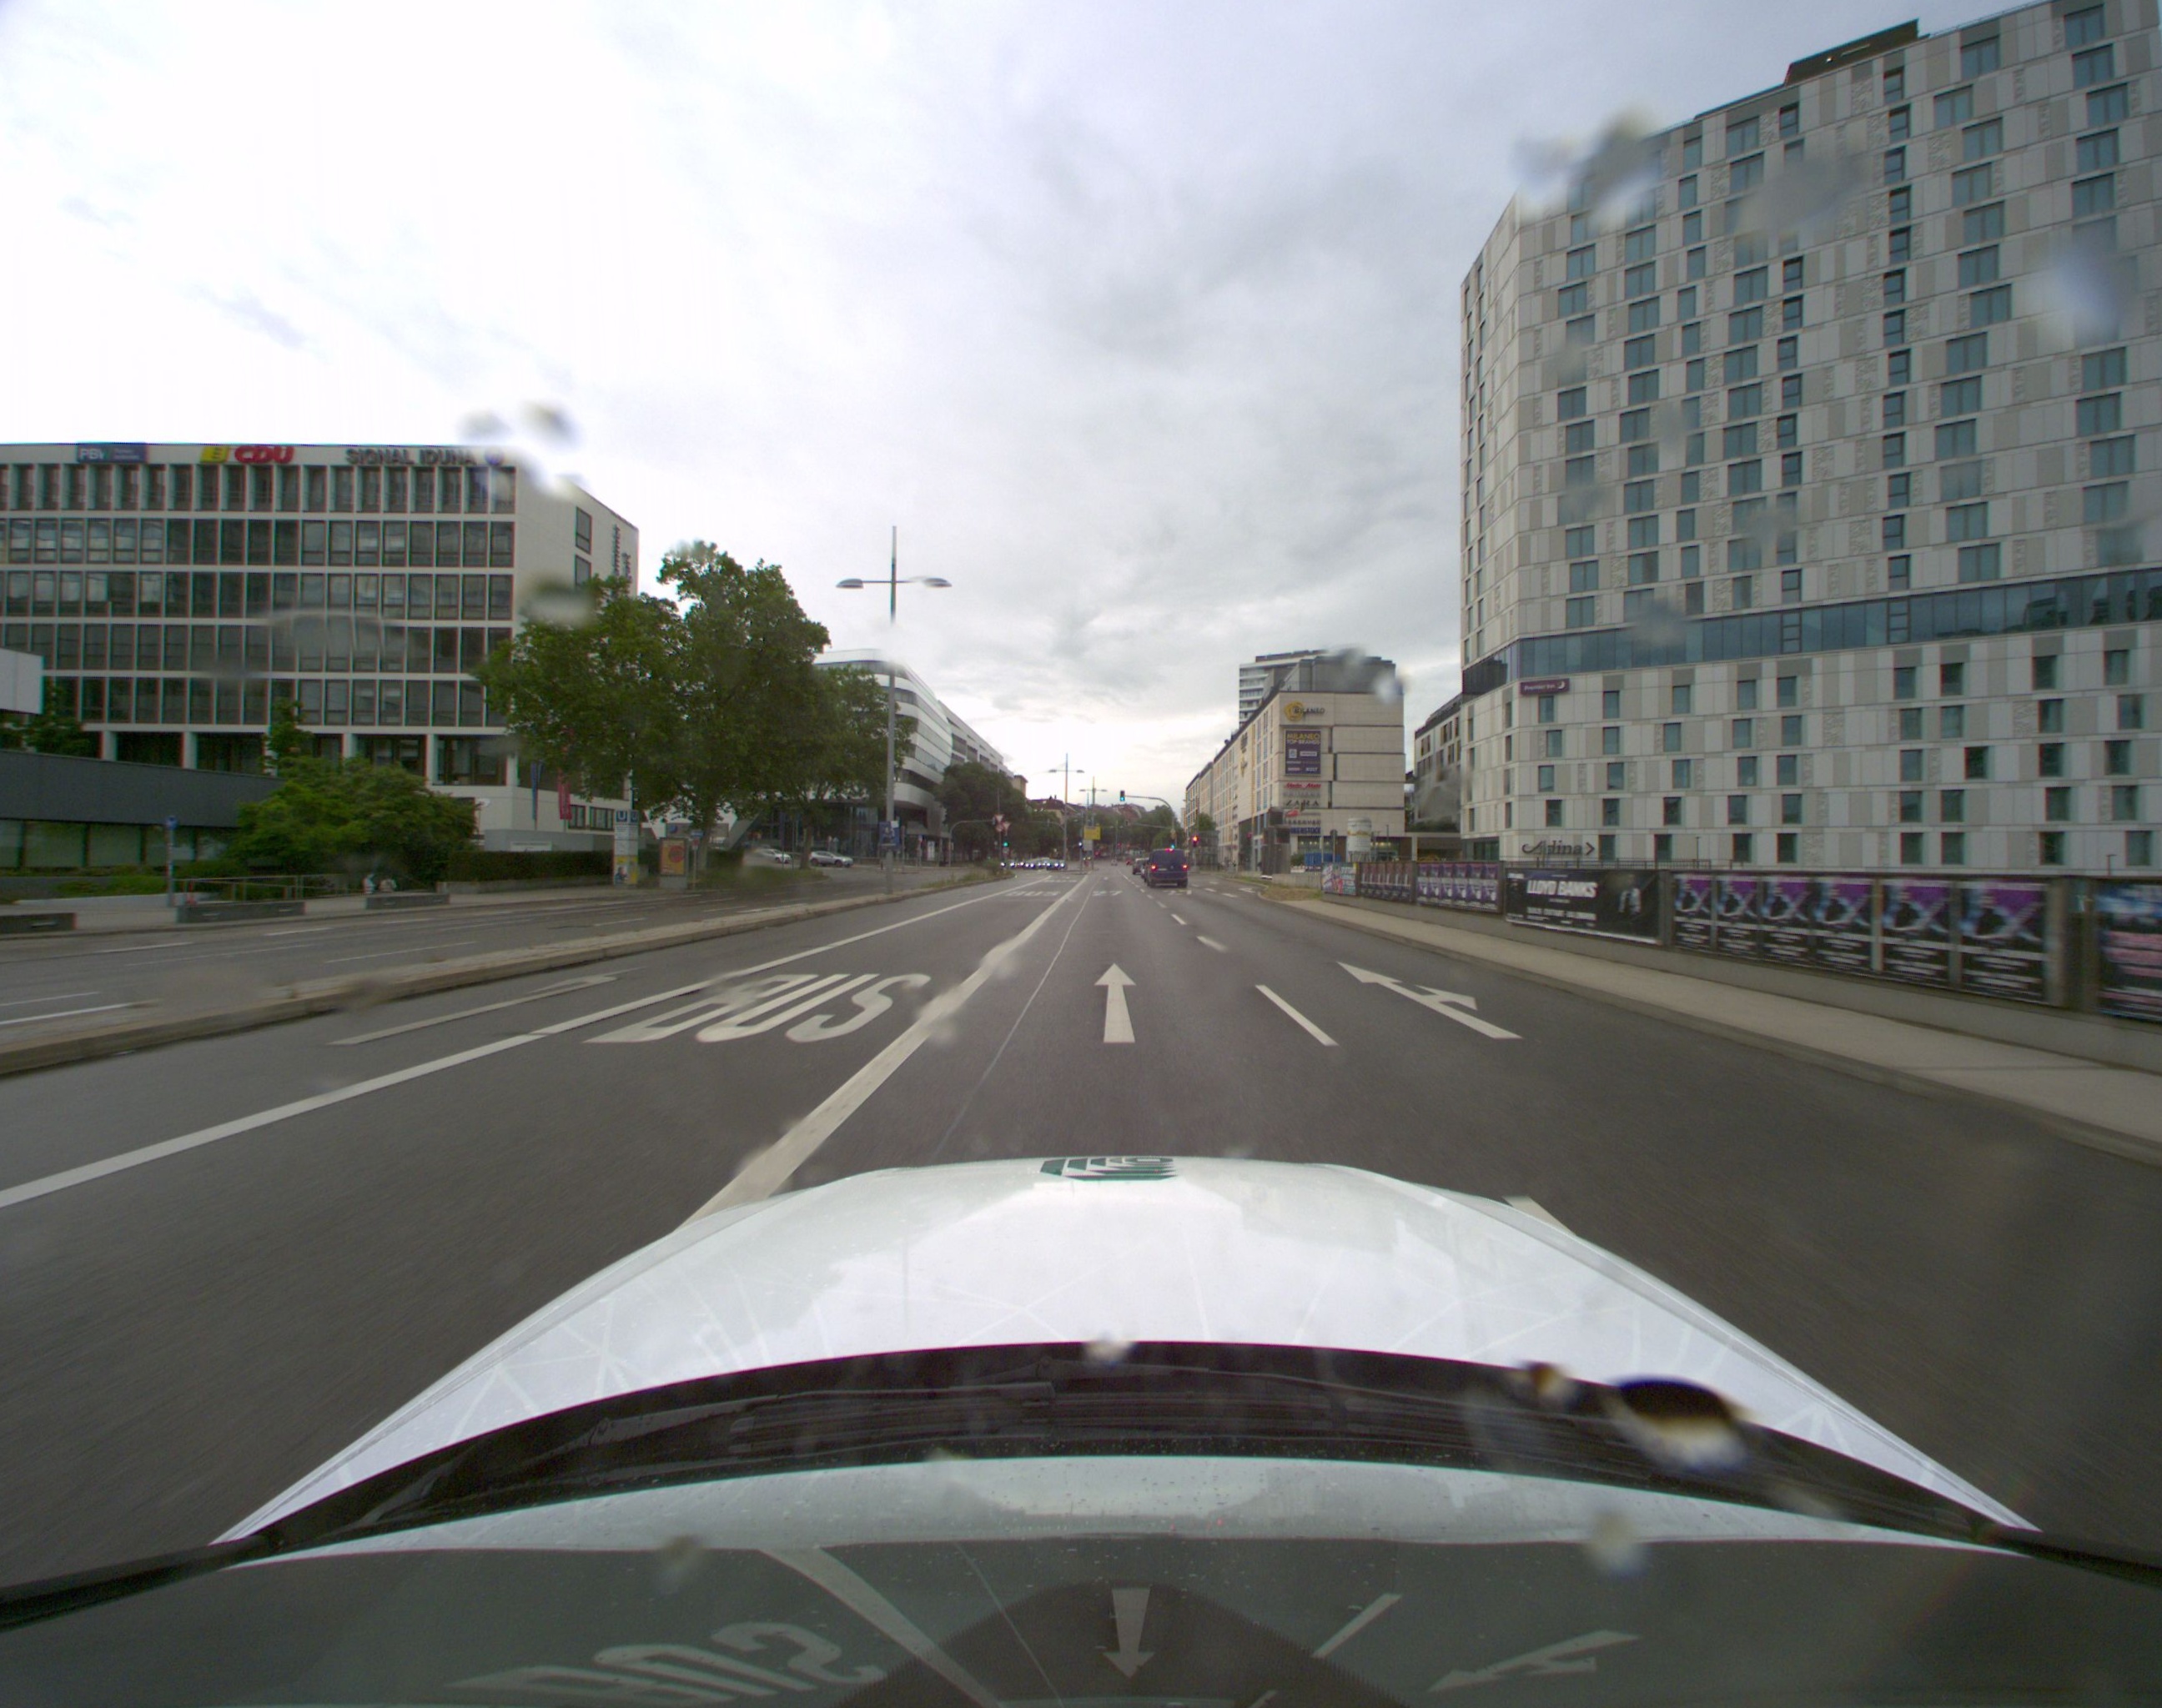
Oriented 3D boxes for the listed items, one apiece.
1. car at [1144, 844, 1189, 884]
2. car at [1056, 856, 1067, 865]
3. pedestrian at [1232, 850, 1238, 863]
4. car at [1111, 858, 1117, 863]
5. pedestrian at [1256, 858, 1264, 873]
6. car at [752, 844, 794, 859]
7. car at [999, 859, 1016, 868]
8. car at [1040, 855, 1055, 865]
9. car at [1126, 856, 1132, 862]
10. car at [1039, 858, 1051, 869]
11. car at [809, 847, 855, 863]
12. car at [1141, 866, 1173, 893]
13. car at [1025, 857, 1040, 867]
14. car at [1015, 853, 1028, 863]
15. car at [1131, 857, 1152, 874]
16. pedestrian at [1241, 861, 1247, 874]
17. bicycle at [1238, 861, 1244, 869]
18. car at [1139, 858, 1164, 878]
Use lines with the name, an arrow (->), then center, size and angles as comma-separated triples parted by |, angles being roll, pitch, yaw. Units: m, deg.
car -> 4.456, 0.445, 43.022 | 2.025, 1.882, 5.046 | -3, 1, 3
car -> -3.106, 1.051, 130.822 | 1.532, 1.477, 3.698 | 0, -1, 2
pedestrian -> 18.280, 0.300, 96.471 | 0.610, 1.611, 0.819 | 0, -1, 2
car -> 9.660, 1.840, 240.260 | 1.734, 1.531, 3.813 | 0, 0, 0
pedestrian -> 19.825, 1.305, 90.218 | 0.619, 1.672, 0.824 | 0, -1, 2
car -> -34.260, -0.271, 90.615 | 3.955, 1.631, 1.903 | -1, -1, 18
car -> -10.323, 1.319, 114.418 | 1.736, 1.328, 4.228 | 0, -1, 2
car -> -4.654, 0.854, 113.734 | 1.736, 1.444, 3.396 | 0, -1, 2
car -> 14.806, 1.551, 252.409 | 1.733, 1.531, 3.816 | 0, -1, 2
car -> -6.050, 1.572, 135.866 | 1.736, 1.748, 3.541 | 0, -1, 2
car -> -26.832, 0.101, 87.692 | 4.465, 1.631, 1.903 | -1, -1, 18
car -> 4.698, 1.573, 50.904 | 1.784, 1.506, 4.341 | 0, 0, 2
car -> -6.880, 1.125, 114.887 | 1.736, 1.257, 3.542 | 1, 1, 2
car -> -9.342, 0.649, 127.856 | 1.736, 1.559, 3.541 | 0, -1, 2
car -> 5.553, 1.058, 74.934 | 1.733, 1.531, 3.816 | 0, -1, 2
pedestrian -> 19.284, 1.602, 96.403 | 0.548, 1.611, 0.698 | 0, -1, 2
bicycle -> 18.934, 1.287, 96.517 | 0.447, 1.016, 1.743 | 0, -1, 2
car -> 5.326, 1.057, 62.219 | 1.717, 1.531, 3.816 | 0, -1, 2
